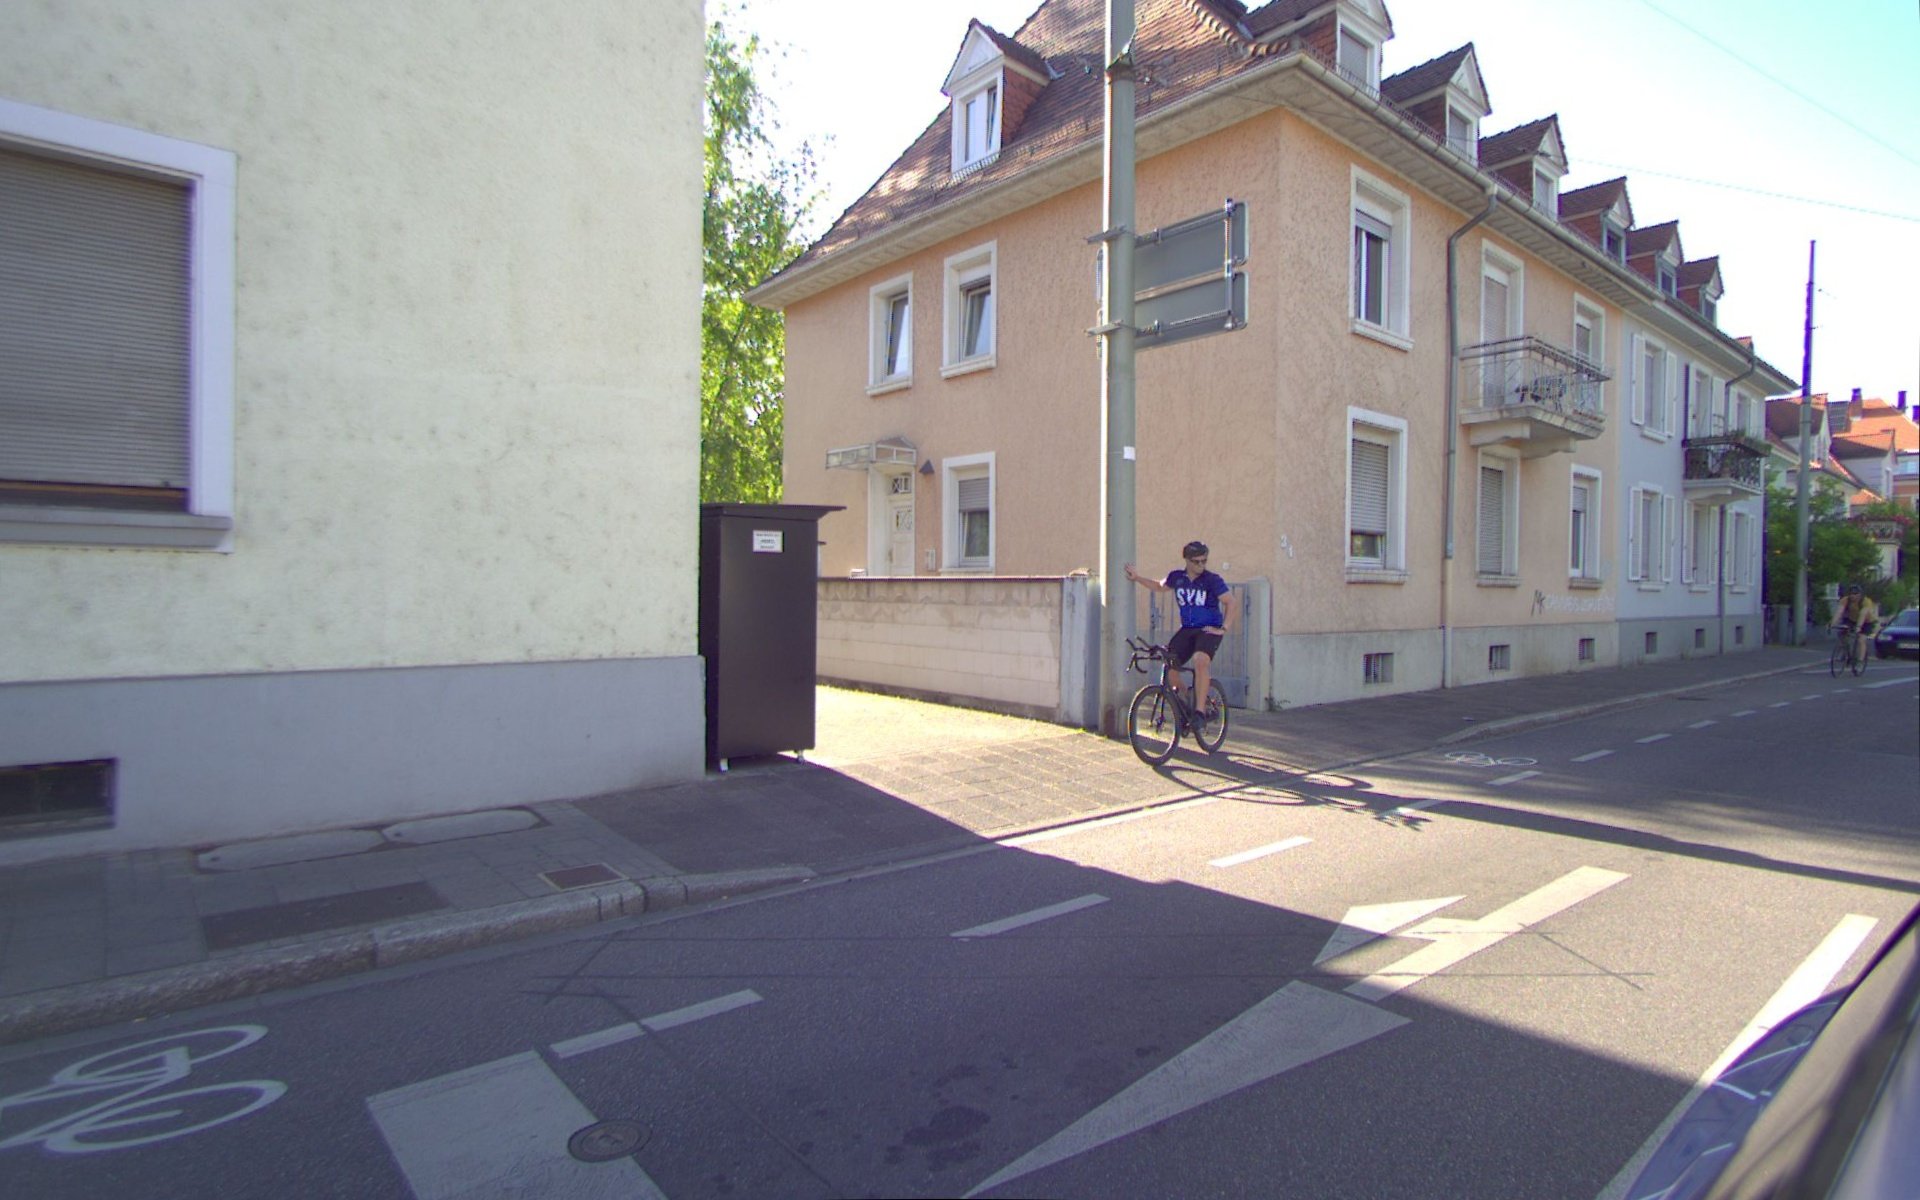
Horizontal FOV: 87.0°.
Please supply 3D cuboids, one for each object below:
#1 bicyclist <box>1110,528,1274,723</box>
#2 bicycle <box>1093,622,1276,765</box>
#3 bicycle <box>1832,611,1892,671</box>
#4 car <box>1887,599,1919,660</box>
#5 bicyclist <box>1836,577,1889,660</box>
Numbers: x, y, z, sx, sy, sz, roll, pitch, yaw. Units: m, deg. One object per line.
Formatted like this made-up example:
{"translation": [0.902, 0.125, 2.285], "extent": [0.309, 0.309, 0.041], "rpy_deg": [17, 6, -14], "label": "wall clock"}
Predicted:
{"translation": [2.130, 0.194, 9.347], "extent": [0.870, 1.627, 1.052], "rpy_deg": [1, 5, -41], "label": "bicyclist"}
{"translation": [2.031, 0.778, 9.024], "extent": [1.744, 1.081, 0.592], "rpy_deg": [0, 5, -41], "label": "bicycle"}
{"translation": [18.391, 0.812, 20.615], "extent": [1.774, 1.118, 0.685], "rpy_deg": [-1, 0, -41], "label": "bicycle"}
{"translation": [26.687, 0.751, 27.365], "extent": [3.742, 1.601, 1.696], "rpy_deg": [0, -1, -36], "label": "car"}
{"translation": [18.343, 0.353, 20.570], "extent": [0.841, 1.641, 0.685], "rpy_deg": [0, 0, -41], "label": "bicyclist"}
